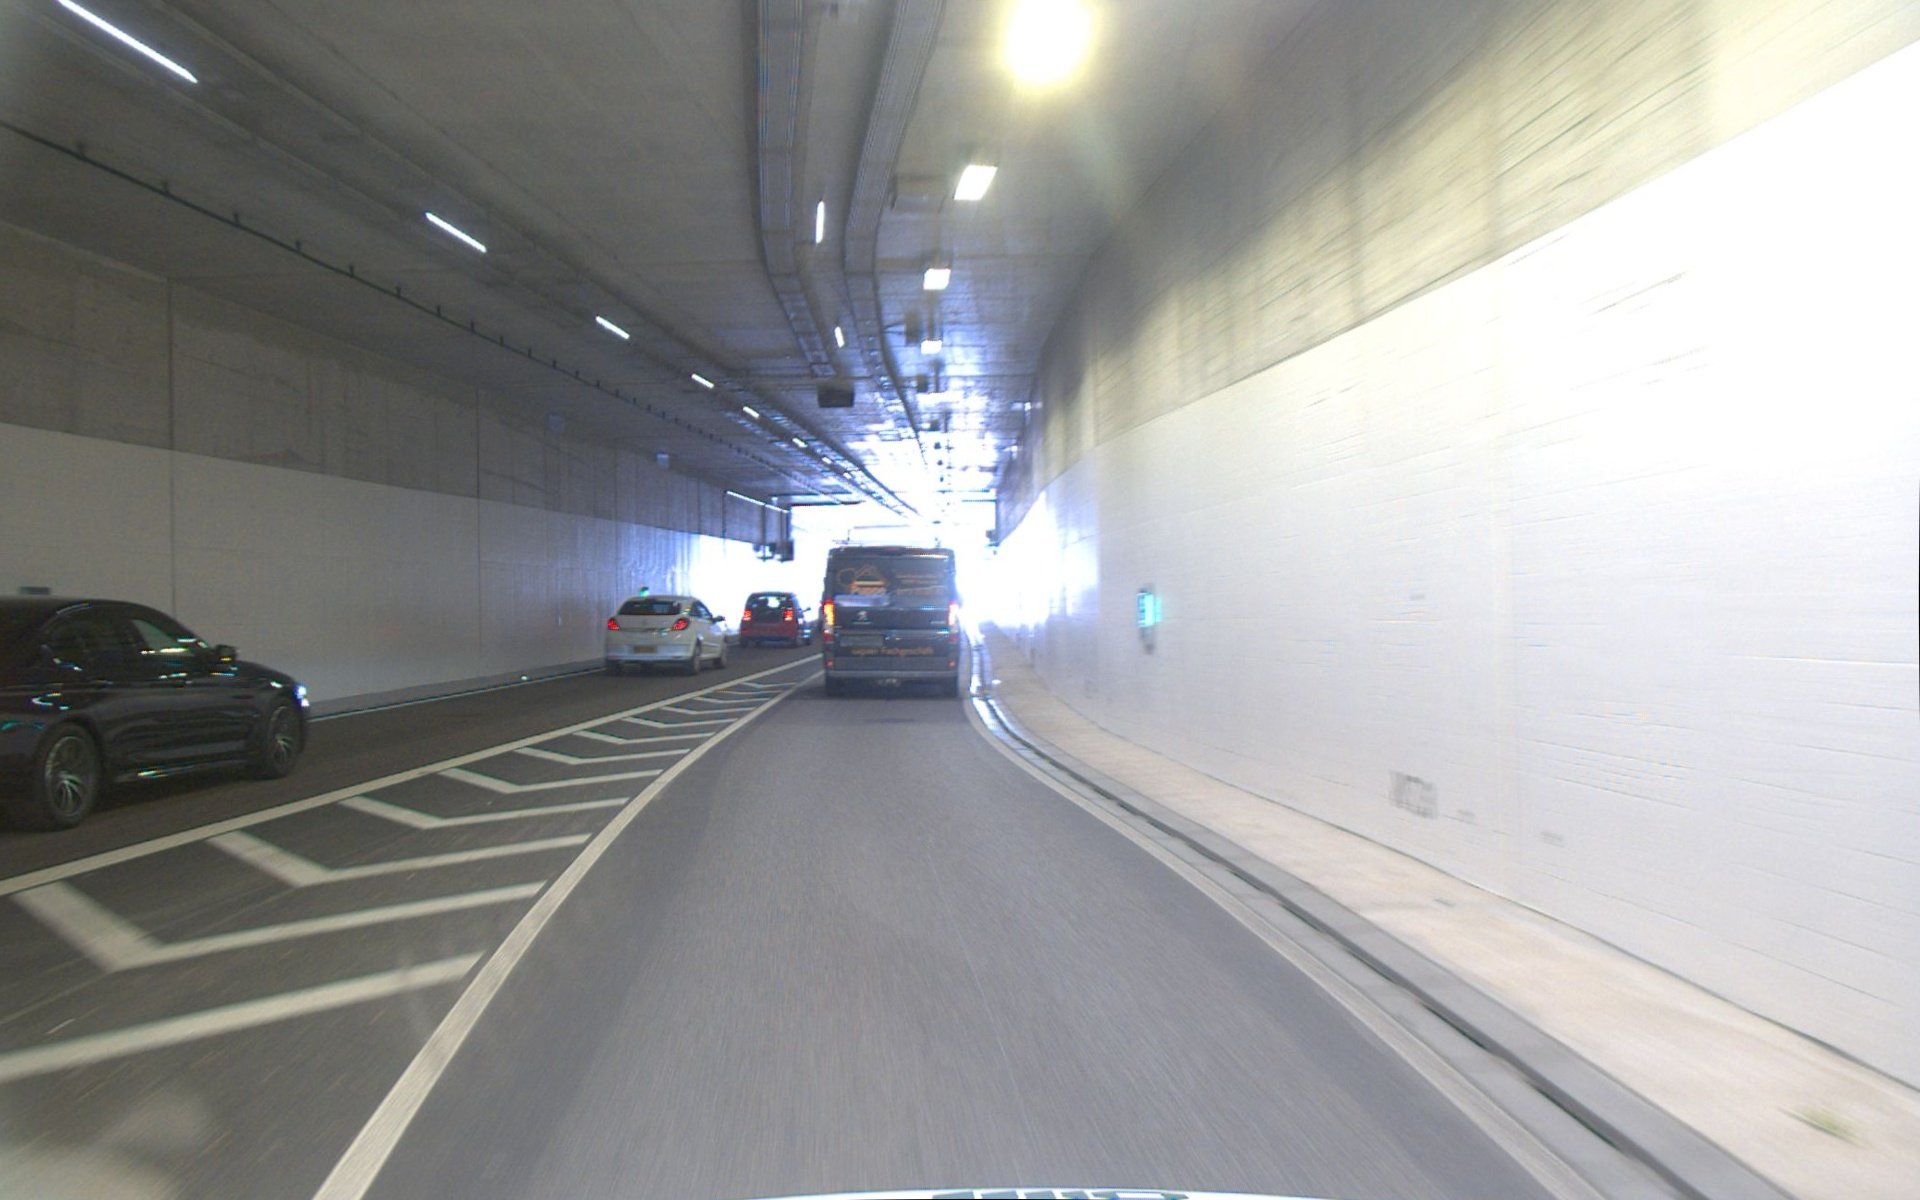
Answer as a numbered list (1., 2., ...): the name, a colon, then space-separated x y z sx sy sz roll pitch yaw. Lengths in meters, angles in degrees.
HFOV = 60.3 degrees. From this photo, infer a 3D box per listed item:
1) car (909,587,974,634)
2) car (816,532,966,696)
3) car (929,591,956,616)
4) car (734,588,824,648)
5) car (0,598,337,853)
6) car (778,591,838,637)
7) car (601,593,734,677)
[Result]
1. car: -0.585 0.356 57.351 2.042 1.540 4.637 -1 0 2
2. car: -0.977 0.201 25.797 2.114 2.305 4.636 0 0 0
3. car: -1.240 0.247 116.353 1.838 1.653 4.219 1 -1 -1
4. car: -4.905 0.456 45.323 1.777 1.538 4.222 1 1 3
5. car: -6.317 0.729 11.784 1.660 1.447 4.853 1 0 3
6. car: -5.496 0.521 60.142 1.838 1.609 4.219 1 -1 -1
7. car: -5.459 0.612 31.312 1.673 1.438 3.975 0 1 2
